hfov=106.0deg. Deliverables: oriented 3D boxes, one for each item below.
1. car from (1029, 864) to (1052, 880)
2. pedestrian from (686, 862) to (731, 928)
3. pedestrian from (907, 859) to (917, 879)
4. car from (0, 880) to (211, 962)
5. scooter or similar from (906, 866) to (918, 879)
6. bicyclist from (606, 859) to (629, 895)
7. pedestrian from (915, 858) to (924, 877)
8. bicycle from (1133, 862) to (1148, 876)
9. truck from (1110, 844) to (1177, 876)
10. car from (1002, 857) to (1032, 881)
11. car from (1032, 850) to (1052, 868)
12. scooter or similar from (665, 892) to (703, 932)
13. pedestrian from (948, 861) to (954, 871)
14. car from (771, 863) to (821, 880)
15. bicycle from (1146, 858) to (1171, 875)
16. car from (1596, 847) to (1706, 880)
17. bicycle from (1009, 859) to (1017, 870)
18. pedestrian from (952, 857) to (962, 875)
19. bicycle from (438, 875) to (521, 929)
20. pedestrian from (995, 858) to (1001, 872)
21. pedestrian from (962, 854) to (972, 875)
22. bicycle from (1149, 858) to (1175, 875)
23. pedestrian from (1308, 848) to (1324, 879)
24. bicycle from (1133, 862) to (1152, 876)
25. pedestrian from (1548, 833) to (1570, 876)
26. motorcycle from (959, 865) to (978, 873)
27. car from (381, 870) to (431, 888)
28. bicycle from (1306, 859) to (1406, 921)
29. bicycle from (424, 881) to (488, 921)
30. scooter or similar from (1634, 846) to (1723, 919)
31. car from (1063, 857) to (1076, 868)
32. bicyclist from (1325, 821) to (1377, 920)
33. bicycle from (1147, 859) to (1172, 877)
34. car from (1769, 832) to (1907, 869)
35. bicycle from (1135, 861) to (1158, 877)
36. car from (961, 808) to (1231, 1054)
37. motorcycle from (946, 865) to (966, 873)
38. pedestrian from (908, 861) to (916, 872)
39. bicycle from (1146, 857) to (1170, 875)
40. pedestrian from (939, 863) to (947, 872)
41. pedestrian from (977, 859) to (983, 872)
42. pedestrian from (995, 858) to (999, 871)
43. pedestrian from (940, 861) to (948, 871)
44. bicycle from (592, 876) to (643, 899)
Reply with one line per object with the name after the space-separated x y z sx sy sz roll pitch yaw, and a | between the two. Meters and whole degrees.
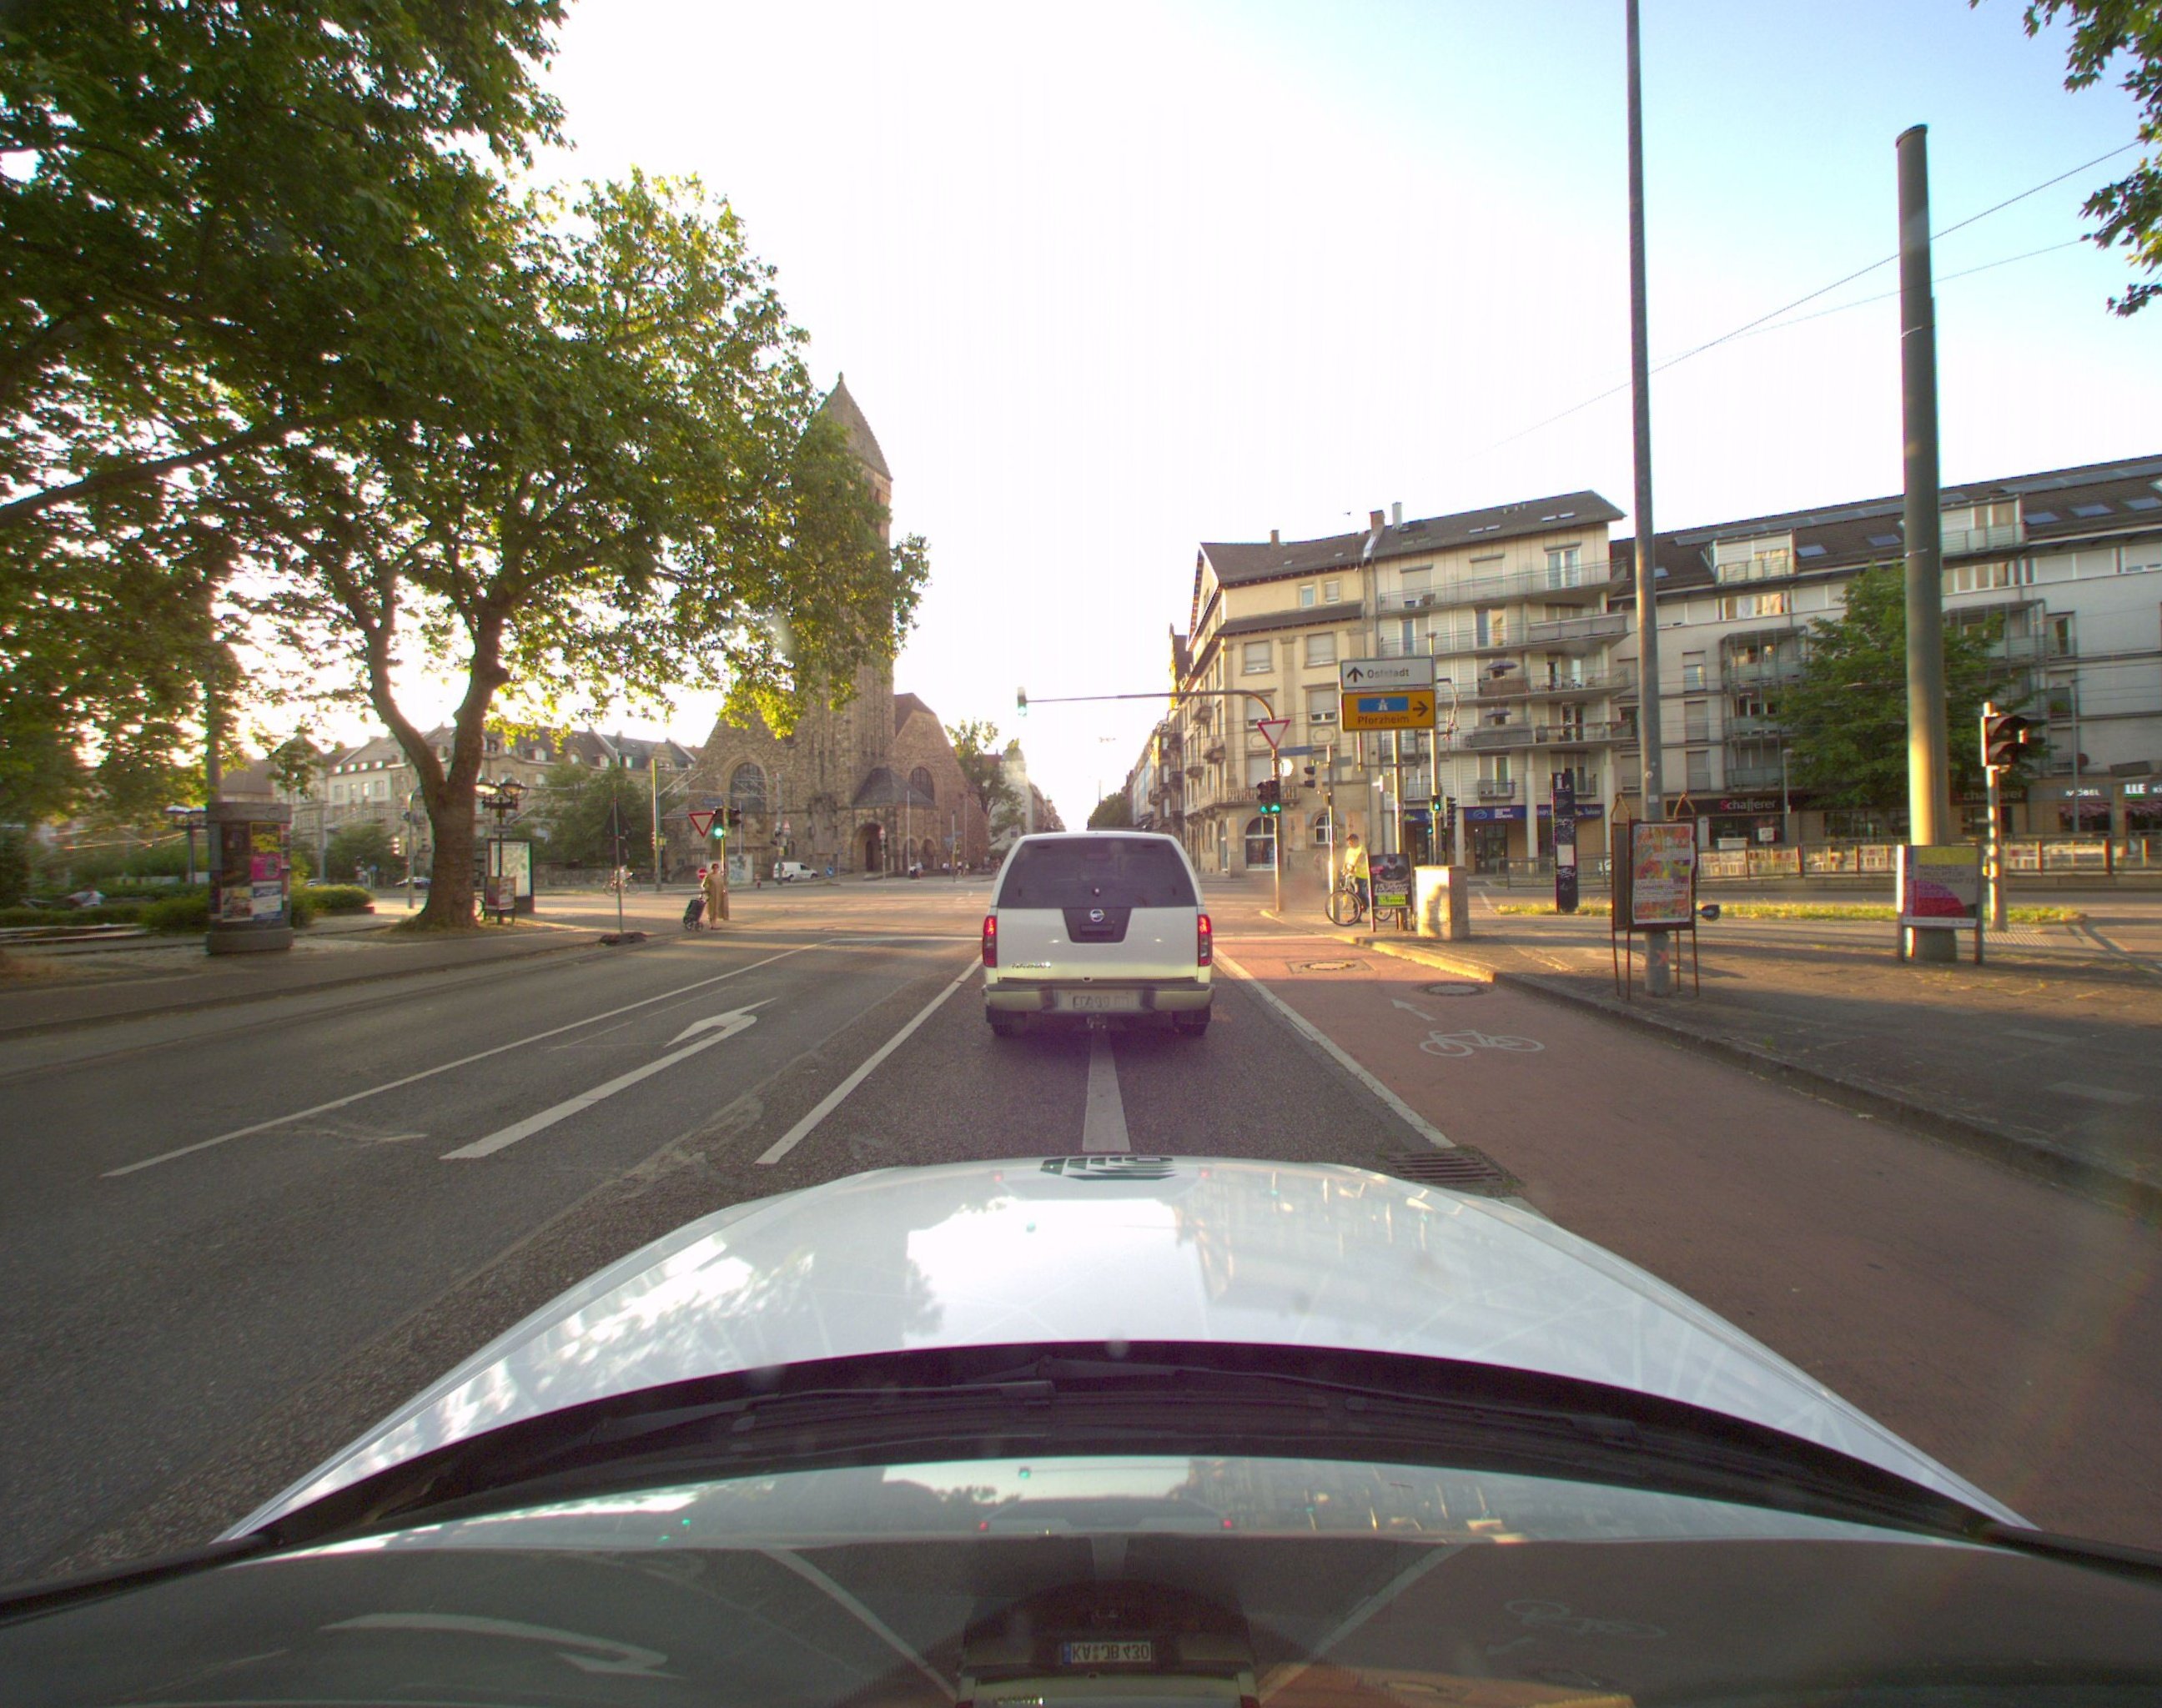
-4.021 1.787 81.382 1.986 1.558 4.769 -1 0 1 | car
-9.356 1.020 20.485 0.800 1.628 0.773 0 -1 -3 | pedestrian
-14.905 1.333 71.747 0.629 1.698 0.604 -1 -1 10 | pedestrian
-26.740 1.751 21.527 1.975 1.781 4.669 -3 1 27 | car
-14.626 1.584 70.540 0.629 1.103 1.082 -1 -1 13 | scooter or similar
-24.415 1.186 42.884 0.650 1.827 0.864 1 1 41 | bicyclist
-14.212 1.197 71.700 0.629 1.698 0.605 -1 -1 12 | pedestrian
4.643 1.196 63.628 1.073 1.024 0.317 -4 -1 -1 | bicycle
5.324 0.496 68.838 5.704 2.565 2.260 0 -1 -42 | truck
-5.069 1.132 64.981 1.987 1.784 4.798 0 0 0 | car
-4.639 0.602 96.906 1.987 2.013 4.951 -2 1 0 | car
-9.537 1.387 19.580 0.591 0.898 0.849 0 -1 -9 | scooter or similar
-12.907 1.194 80.861 0.522 0.960 0.477 0 -1 -14 | pedestrian
-26.349 1.604 75.353 1.698 1.517 4.481 -1 -1 26 | car
6.097 0.977 63.901 1.812 1.238 0.477 -5 -1 -1 | bicycle
26.527 0.448 38.087 3.950 1.486 1.860 -1 -1 26 | car
-6.834 1.050 81.945 0.597 1.043 1.945 0 -1 1 | bicycle
-11.632 1.134 76.288 0.809 1.669 0.859 0 -1 -1 | pedestrian
-15.827 1.241 21.504 0.522 1.326 1.998 -1 -1 7 | bicycle
-10.822 1.416 106.280 0.643 1.855 0.559 0 -1 -13 | pedestrian
-10.696 0.991 76.383 0.809 1.901 0.666 0 -1 -1 | pedestrian
6.208 0.991 62.246 1.812 1.150 0.636 -5 -1 -1 | bicycle
13.783 0.565 47.815 0.779 1.779 0.546 -1 -1 27 | pedestrian
4.857 1.189 64.336 1.367 1.024 0.317 -4 -1 -1 | bicycle
25.155 0.030 42.858 0.860 2.209 0.825 -1 -1 21 | pedestrian
-13.349 1.758 96.510 2.146 0.988 0.597 -1 -1 21 | motorcycle
-66.948 2.491 80.819 3.954 1.618 2.010 -3 -1 19 | car
5.284 0.666 15.595 2.079 1.109 0.622 0 -1 -31 | bicycle
-18.055 1.336 23.583 0.456 1.093 1.798 0 -1 0 | bicycle
10.645 0.501 14.518 1.219 1.249 0.518 -1 -1 41 | scooter or similar
-1.762 1.309 123.238 1.852 1.529 4.000 0 -1 1 | car
5.147 0.309 15.524 0.701 1.824 0.622 0 -1 -31 | bicyclist
6.121 1.061 63.188 1.812 1.238 0.488 -5 -1 -1 | bicycle
32.677 -0.122 35.313 3.952 1.486 1.859 -1 -1 21 | car
5.036 1.135 62.736 1.721 1.083 0.317 -5 -1 -1 | bicycle
0.167 0.598 8.008 1.986 1.809 4.001 0 -1 2 | car
-14.442 1.733 94.245 2.239 0.988 0.707 0 -1 -4 | motorcycle
-15.668 1.163 75.517 0.517 0.960 0.482 -1 -1 21 | pedestrian
6.168 0.962 65.232 1.812 1.238 0.410 -5 -1 -1 | bicycle
-15.034 1.453 88.779 0.547 0.960 0.713 -1 -1 22 | pedestrian
-12.458 1.421 100.310 0.640 1.695 0.562 0 -1 1 | pedestrian
-11.028 1.344 106.943 0.559 1.695 0.643 0 -1 -6 | pedestrian
-13.610 1.226 80.906 0.517 0.960 0.481 -1 -1 19 | pedestrian
-24.390 1.759 42.879 0.650 1.077 2.259 3 2 40 | bicycle
